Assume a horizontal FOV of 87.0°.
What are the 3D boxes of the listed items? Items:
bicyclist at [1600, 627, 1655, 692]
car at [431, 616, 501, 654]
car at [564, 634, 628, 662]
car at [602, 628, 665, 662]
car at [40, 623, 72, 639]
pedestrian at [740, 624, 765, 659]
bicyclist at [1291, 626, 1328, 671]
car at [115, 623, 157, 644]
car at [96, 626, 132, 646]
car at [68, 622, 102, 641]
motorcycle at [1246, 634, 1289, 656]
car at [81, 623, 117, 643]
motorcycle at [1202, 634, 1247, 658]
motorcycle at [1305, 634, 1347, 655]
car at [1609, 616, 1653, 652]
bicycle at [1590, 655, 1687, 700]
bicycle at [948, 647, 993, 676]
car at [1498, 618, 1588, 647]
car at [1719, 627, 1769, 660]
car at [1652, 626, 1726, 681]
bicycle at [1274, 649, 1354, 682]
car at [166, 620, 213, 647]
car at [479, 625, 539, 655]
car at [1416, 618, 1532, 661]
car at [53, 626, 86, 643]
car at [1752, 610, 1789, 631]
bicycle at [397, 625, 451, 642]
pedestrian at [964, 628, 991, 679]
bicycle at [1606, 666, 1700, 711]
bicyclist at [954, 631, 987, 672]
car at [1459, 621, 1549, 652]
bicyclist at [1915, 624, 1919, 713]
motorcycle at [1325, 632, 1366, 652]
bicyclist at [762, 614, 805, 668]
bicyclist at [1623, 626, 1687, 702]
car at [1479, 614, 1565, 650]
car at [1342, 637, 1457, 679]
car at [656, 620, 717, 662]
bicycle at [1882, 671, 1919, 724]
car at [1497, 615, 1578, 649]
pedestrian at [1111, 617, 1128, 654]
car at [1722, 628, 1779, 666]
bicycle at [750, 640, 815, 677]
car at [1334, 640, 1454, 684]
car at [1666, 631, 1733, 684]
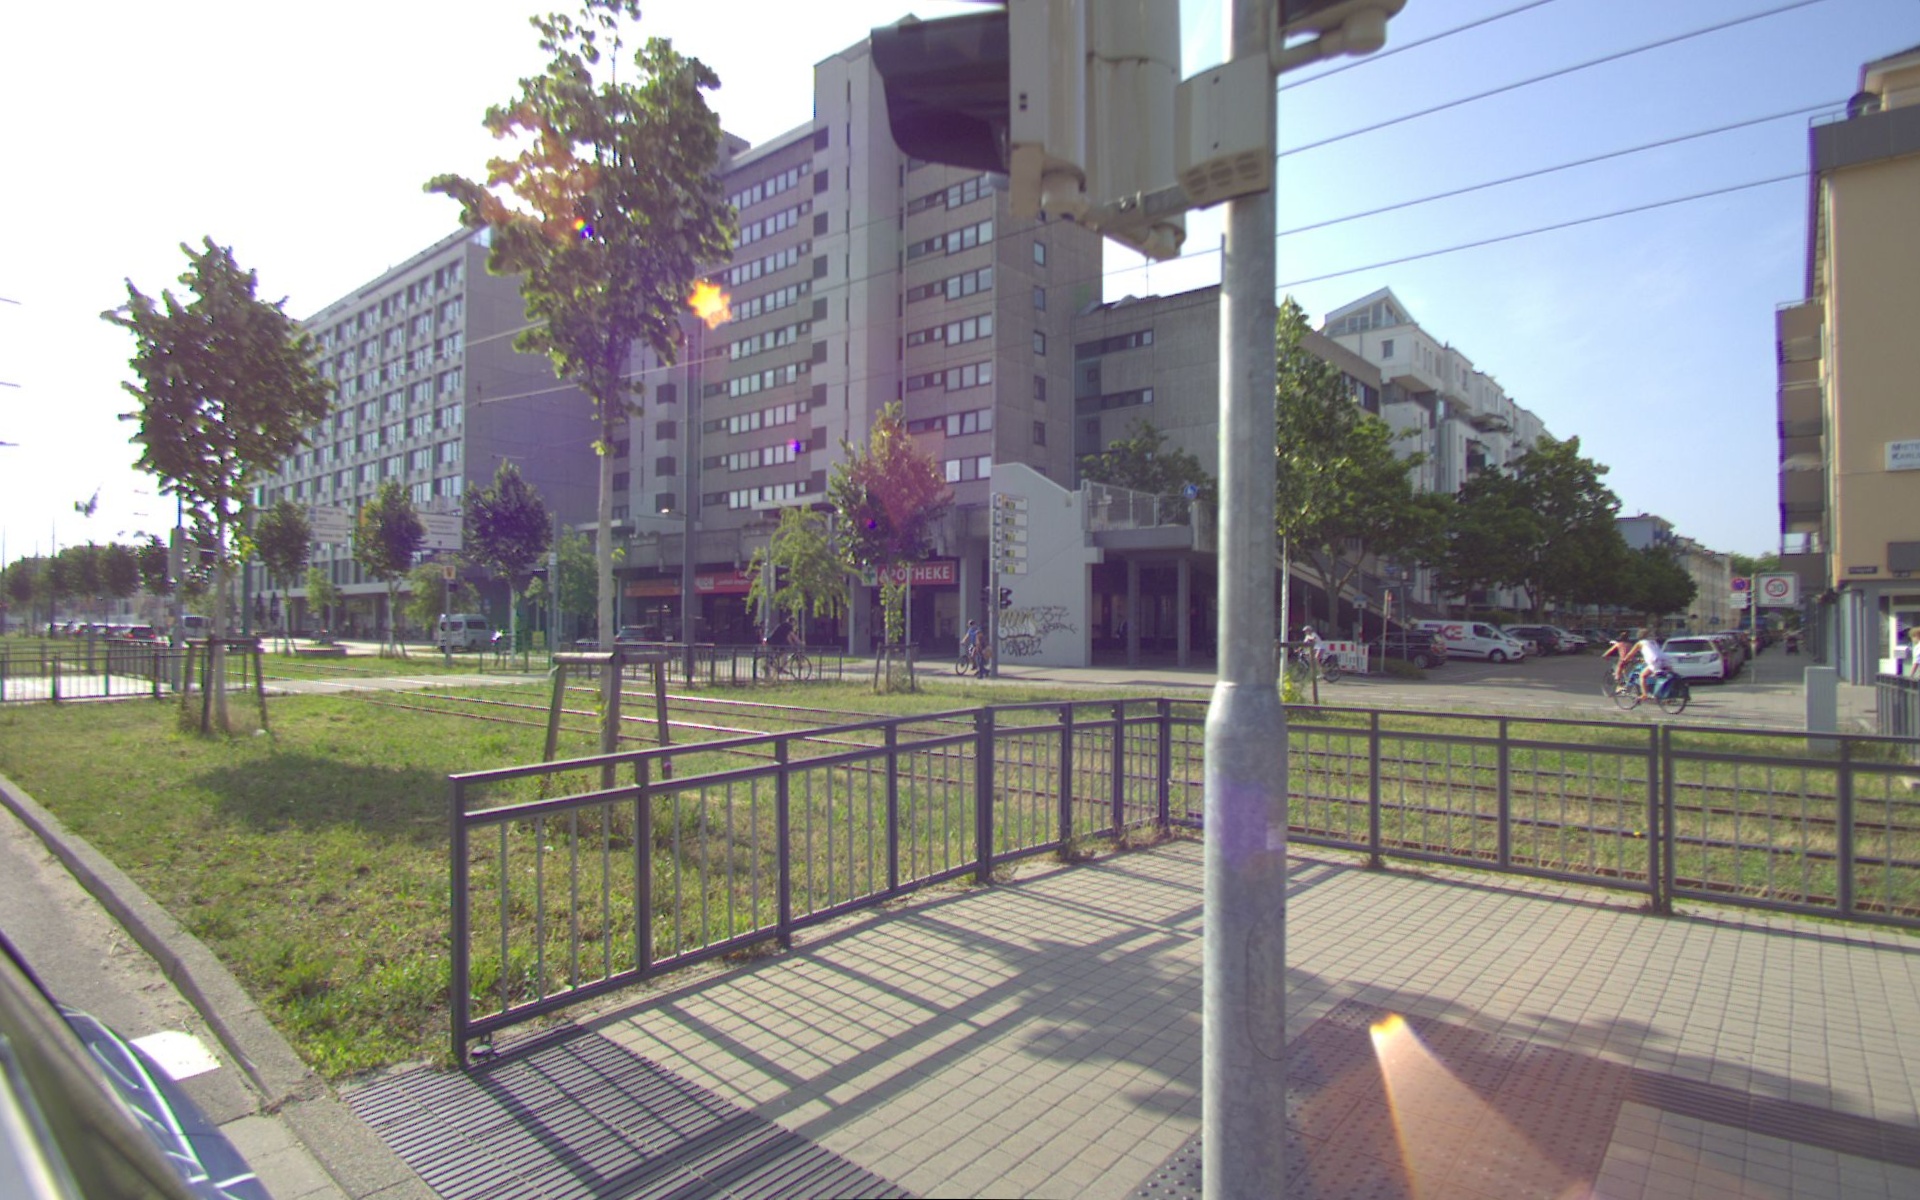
[{"bbox_3d":[17.230,1.519,26.136,0.883,1.641,0.889,0,-2,11],"label":"bicyclist"},{"bbox_3d":[-31.568,2.208,64.839,1.858,2.326,5.407,0,-2,0],"label":"car"},{"bbox_3d":[-19.340,2.510,53.949,1.853,1.253,4.110,-1,0,1],"label":"car"},{"bbox_3d":[-16.610,2.267,51.642,1.853,1.618,4.110,0,-1,1],"label":"car"},{"bbox_3d":[-85.536,2.918,95.786,3.998,1.536,1.764,-1,-2,41],"label":"car"},{"bbox_3d":[-10.287,2.053,50.234,1.102,1.709,0.743,0,-2,-2],"label":"pedestrian"},{"bbox_3d":[11.170,1.559,32.373,0.900,1.396,0.704,1,-4,-4],"label":"bicyclist"},{"bbox_3d":[-59.564,2.394,73.139,4.000,1.492,1.788,-1,-2,43],"label":"car"},{"bbox_3d":[-65.512,2.774,78.338,3.641,1.498,1.722,-1,-2,43],"label":"car"},{"bbox_3d":[-74.458,2.704,86.124,4.000,1.586,1.788,-1,-2,43],"label":"car"},{"bbox_3d":[14.616,2.144,48.151,1.945,1.025,0.488,-1,-2,41],"label":"motorcycle"},{"bbox_3d":[-70.287,2.650,82.578,4.000,1.586,1.788,-1,-2,43],"label":"car"},{"bbox_3d":[11.818,2.048,45.273,1.945,1.025,0.488,-1,-2,41],"label":"motorcycle"},{"bbox_3d":[18.591,2.269,51.448,1.945,1.025,0.549,-1,-2,41],"label":"motorcycle"},{"bbox_3d":[39.759,2.017,59.955,1.809,2.029,3.947,-2,-2,39],"label":"car"},{"bbox_3d":[17.154,1.937,25.704,0.890,0.972,2.987,0,-2,10],"label":"bicycle"},{"bbox_3d":[0.396,2.200,36.436,0.686,0.998,1.643,-2,-2,44],"label":"bicycle"},{"bbox_3d":[37.434,2.053,65.026,4.767,1.833,1.973,-1,-2,41],"label":"car"},{"bbox_3d":[39.695,2.164,51.321,1.812,1.616,3.905,-1,-2,36],"label":"car"},{"bbox_3d":[22.892,1.650,31.780,1.706,1.596,3.590,-4,-4,36],"label":"car"},{"bbox_3d":[11.287,2.089,32.339,2.311,1.007,0.708,0,-2,-5],"label":"bicycle"},{"bbox_3d":[-65.970,2.840,86.643,5.330,2.256,2.025,-1,-2,40],"label":"car"},{"bbox_3d":[-26.710,2.359,60.065,2.070,1.594,4.006,-2,0,-6],"label":"car"},{"bbox_3d":[25.436,1.932,50.194,4.829,1.983,1.973,0,-1,40],"label":"car"},{"bbox_3d":[-80.331,3.128,91.276,4.000,1.486,1.788,-1,-2,43],"label":"car"},{"bbox_3d":[64.058,1.614,80.036,1.996,1.649,3.952,-1,-2,36],"label":"car"},{"bbox_3d":[-45.697,2.836,86.350,3.937,1.377,1.128,1,-2,-41],"label":"bicycle"},{"bbox_3d":[0.596,1.801,34.220,0.645,1.703,0.651,-1,-2,43],"label":"pedestrian"},{"bbox_3d":[14.058,1.783,20.606,0.621,0.799,2.000,0,-2,3],"label":"bicycle"},{"bbox_3d":[0.378,1.839,36.438,1.009,1.451,0.686,2,-2,-44],"label":"bicyclist"},{"bbox_3d":[29.653,1.963,55.215,3.998,1.630,1.973,-1,-2,41],"label":"car"},{"bbox_3d":[16.143,1.119,16.358,0.676,1.451,0.808,-1,0,-21],"label":"bicyclist"},{"bbox_3d":[20.409,2.238,53.580,1.945,1.025,0.549,-1,-2,41],"label":"motorcycle"},{"bbox_3d":[-4.705,1.104,27.045,0.957,1.406,0.548,4,-5,-29],"label":"bicyclist"},{"bbox_3d":[14.041,1.275,20.460,0.612,1.511,0.985,0,-2,4],"label":"bicyclist"},{"bbox_3d":[32.162,1.813,57.998,3.998,2.029,1.973,-1,-2,41],"label":"car"},{"bbox_3d":[19.596,2.549,45.199,4.374,1.640,1.891,-1,1,37],"label":"car"},{"bbox_3d":[-13.470,1.982,50.020,1.853,1.983,4.110,0,-2,1],"label":"car"},{"bbox_3d":[16.130,1.624,16.402,0.708,0.804,1.609,-1,0,-22],"label":"bicycle"},{"bbox_3d":[35.190,1.935,61.684,3.998,2.029,1.973,-1,-2,41],"label":"car"},{"bbox_3d":[7.770,1.736,49.241,0.622,1.790,0.693,-1,-2,27],"label":"pedestrian"},{"bbox_3d":[34.915,2.040,44.777,1.812,1.616,3.905,-1,-2,36],"label":"car"},{"bbox_3d":[-4.735,1.561,26.995,1.585,0.942,0.559,4,-5,-29],"label":"bicycle"},{"bbox_3d":[18.428,2.588,43.068,4.374,1.640,1.891,-1,1,37],"label":"car"},{"bbox_3d":[25.568,1.950,34.992,1.771,1.701,3.752,-1,-2,37],"label":"car"}]
